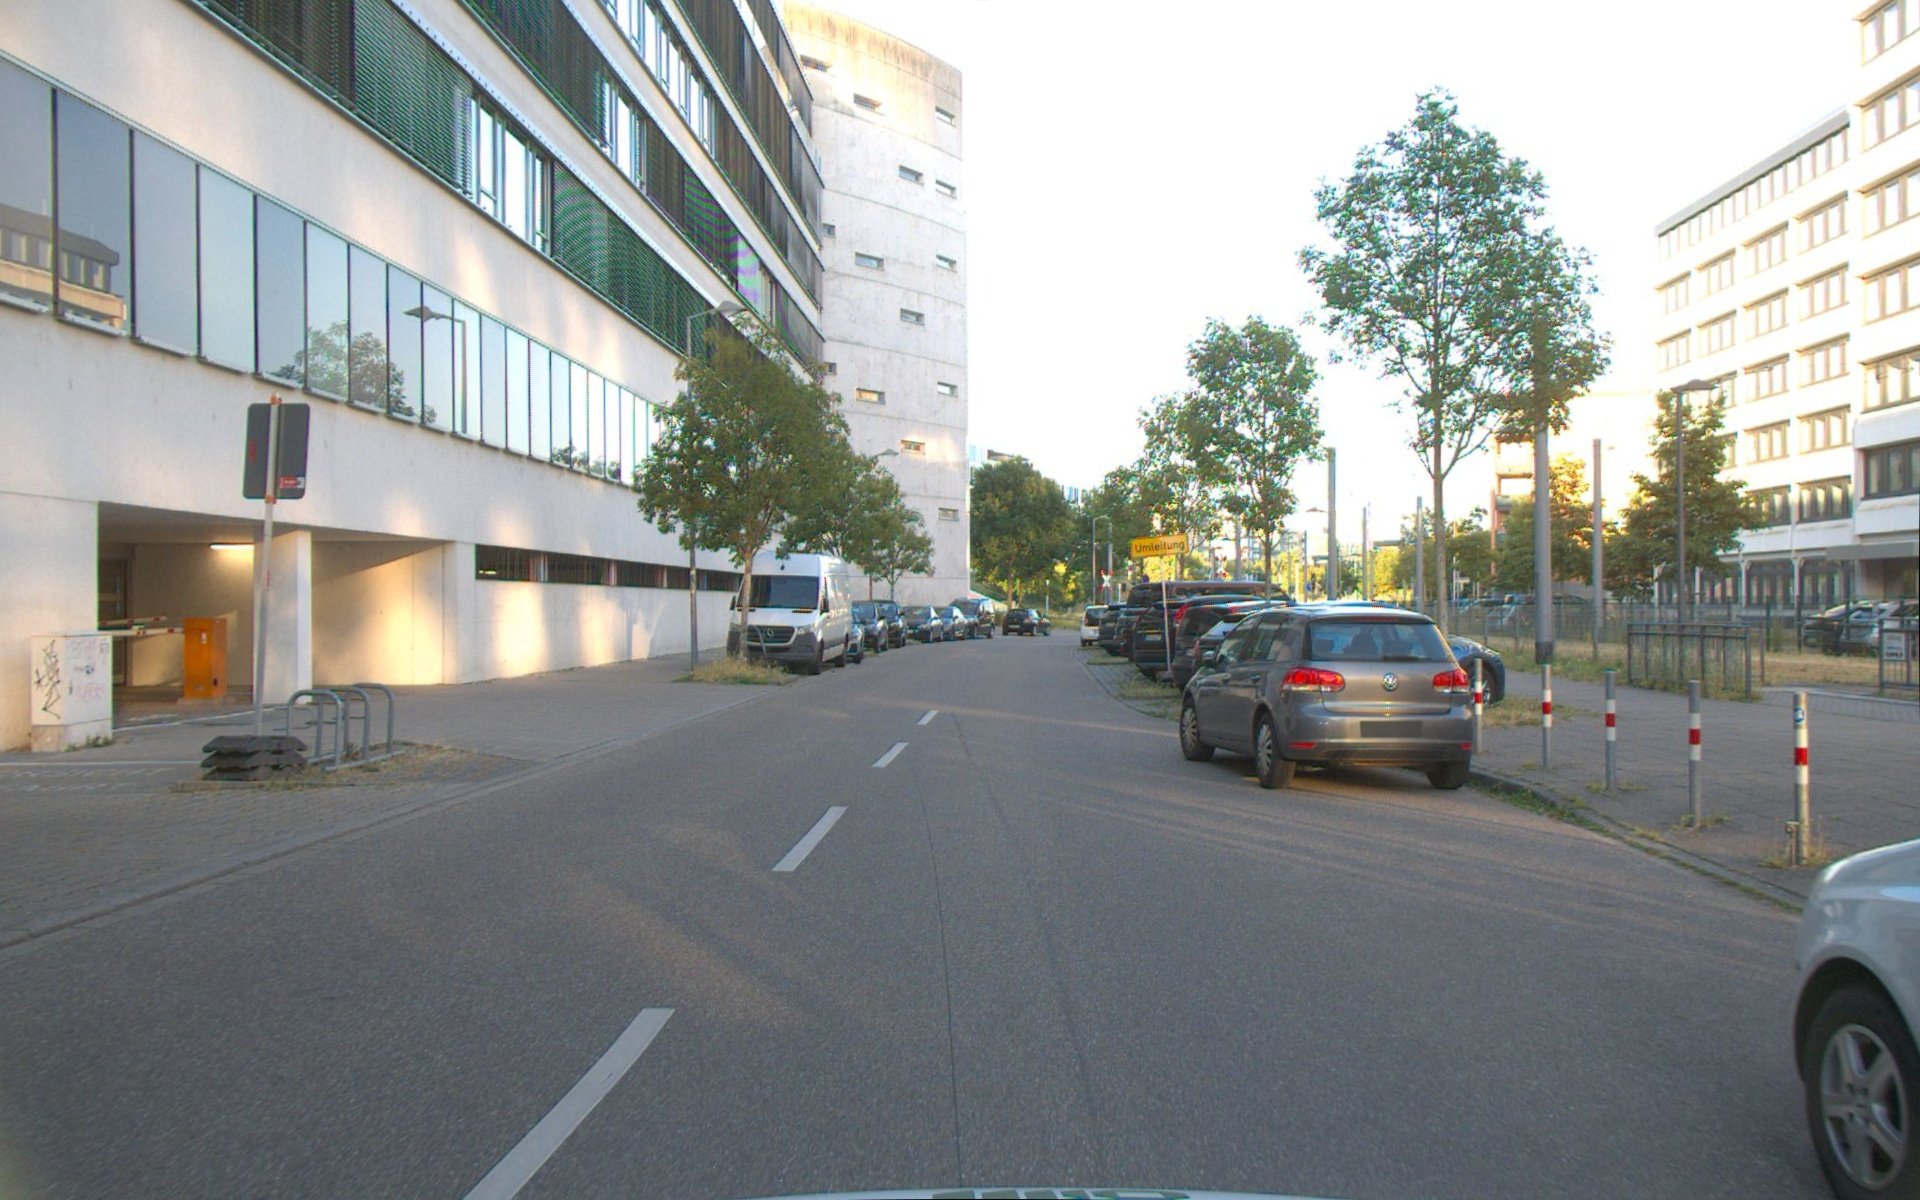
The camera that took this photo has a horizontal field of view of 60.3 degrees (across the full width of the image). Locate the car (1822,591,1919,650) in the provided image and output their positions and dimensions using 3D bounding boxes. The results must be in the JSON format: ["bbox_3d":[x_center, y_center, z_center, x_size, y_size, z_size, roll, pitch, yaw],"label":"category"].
[{"bbox_3d":[24.552,0.556,42.513,3.905,1.422,1.592,2,0,1],"label":"car"}]

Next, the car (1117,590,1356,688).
[{"bbox_3d":[5.452,0.739,32.454,4.543,1.779,1.851,1,0,-32],"label":"car"}]

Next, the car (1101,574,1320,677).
[{"bbox_3d":[5.400,0.531,35.508,4.543,2.071,1.851,1,0,-32],"label":"car"}]

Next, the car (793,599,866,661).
[{"bbox_3d":[-3.396,0.760,43.506,1.721,1.465,3.900,2,0,-2],"label":"car"}]

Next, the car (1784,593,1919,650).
[{"bbox_3d":[24.695,0.588,44.806,3.905,1.422,1.592,2,0,1],"label":"car"}]

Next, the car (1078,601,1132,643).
[{"bbox_3d":[5.472,0.800,62.142,1.685,1.493,3.556,-1,0,10],"label":"car"}]

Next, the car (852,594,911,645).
[{"bbox_3d":[-2.738,0.662,58.392,1.719,1.682,3.949,2,0,2],"label":"car"}]

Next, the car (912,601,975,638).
[{"bbox_3d":[-0.680,0.827,72.336,1.686,1.483,4.698,2,1,12],"label":"car"}]

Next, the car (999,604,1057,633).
[{"bbox_3d":[3.634,0.951,87.409,1.903,1.407,4.401,2,1,18],"label":"car"}]

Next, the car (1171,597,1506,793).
[{"bbox_3d":[3.217,0.758,14.887,1.698,1.491,3.994,2,-1,-7],"label":"car"}]

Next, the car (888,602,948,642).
[{"bbox_3d":[-1.657,0.880,66.838,1.686,1.483,4.275,2,0,9],"label":"car"}]

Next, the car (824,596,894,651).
[{"bbox_3d":[-3.144,0.703,52.250,1.719,1.588,4.044,2,0,3],"label":"car"}]

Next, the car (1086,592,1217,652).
[{"bbox_3d":[5.878,0.680,50.722,3.727,1.756,1.745,1,0,-31],"label":"car"}]

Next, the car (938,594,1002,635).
[{"bbox_3d":[0.499,0.658,77.455,1.720,1.830,4.465,2,0,17],"label":"car"}]

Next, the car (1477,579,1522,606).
[{"bbox_3d":[53.081,-0.749,162.759,4.070,2.629,1.702,-1,0,24],"label":"car"}]

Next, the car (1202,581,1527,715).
[{"bbox_3d":[5.273,0.582,21.433,3.951,1.547,1.906,-1,-1,-33],"label":"car"}]

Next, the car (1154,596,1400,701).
[{"bbox_3d":[5.295,0.804,27.475,3.951,1.623,1.716,2,-1,-34],"label":"car"}]

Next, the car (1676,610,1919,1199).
[{"bbox_3d":[3.083,0.774,3.091,1.642,1.477,4.187,0,0,-1],"label":"car"}]

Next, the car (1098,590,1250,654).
[{"bbox_3d":[6.207,0.643,47.999,3.924,1.668,1.957,-2,-1,-26],"label":"car"}]

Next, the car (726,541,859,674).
[{"bbox_3d":[-3.638,0.131,37.247,1.917,2.662,6.895,2,0,3],"label":"car"}]

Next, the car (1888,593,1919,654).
[{"bbox_3d":[24.360,0.609,39.127,3.905,1.422,1.592,2,0,1],"label":"car"}]

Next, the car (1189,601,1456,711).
[{"bbox_3d":[5.428,0.773,24.581,3.955,1.490,1.715,0,0,-36],"label":"car"}]
